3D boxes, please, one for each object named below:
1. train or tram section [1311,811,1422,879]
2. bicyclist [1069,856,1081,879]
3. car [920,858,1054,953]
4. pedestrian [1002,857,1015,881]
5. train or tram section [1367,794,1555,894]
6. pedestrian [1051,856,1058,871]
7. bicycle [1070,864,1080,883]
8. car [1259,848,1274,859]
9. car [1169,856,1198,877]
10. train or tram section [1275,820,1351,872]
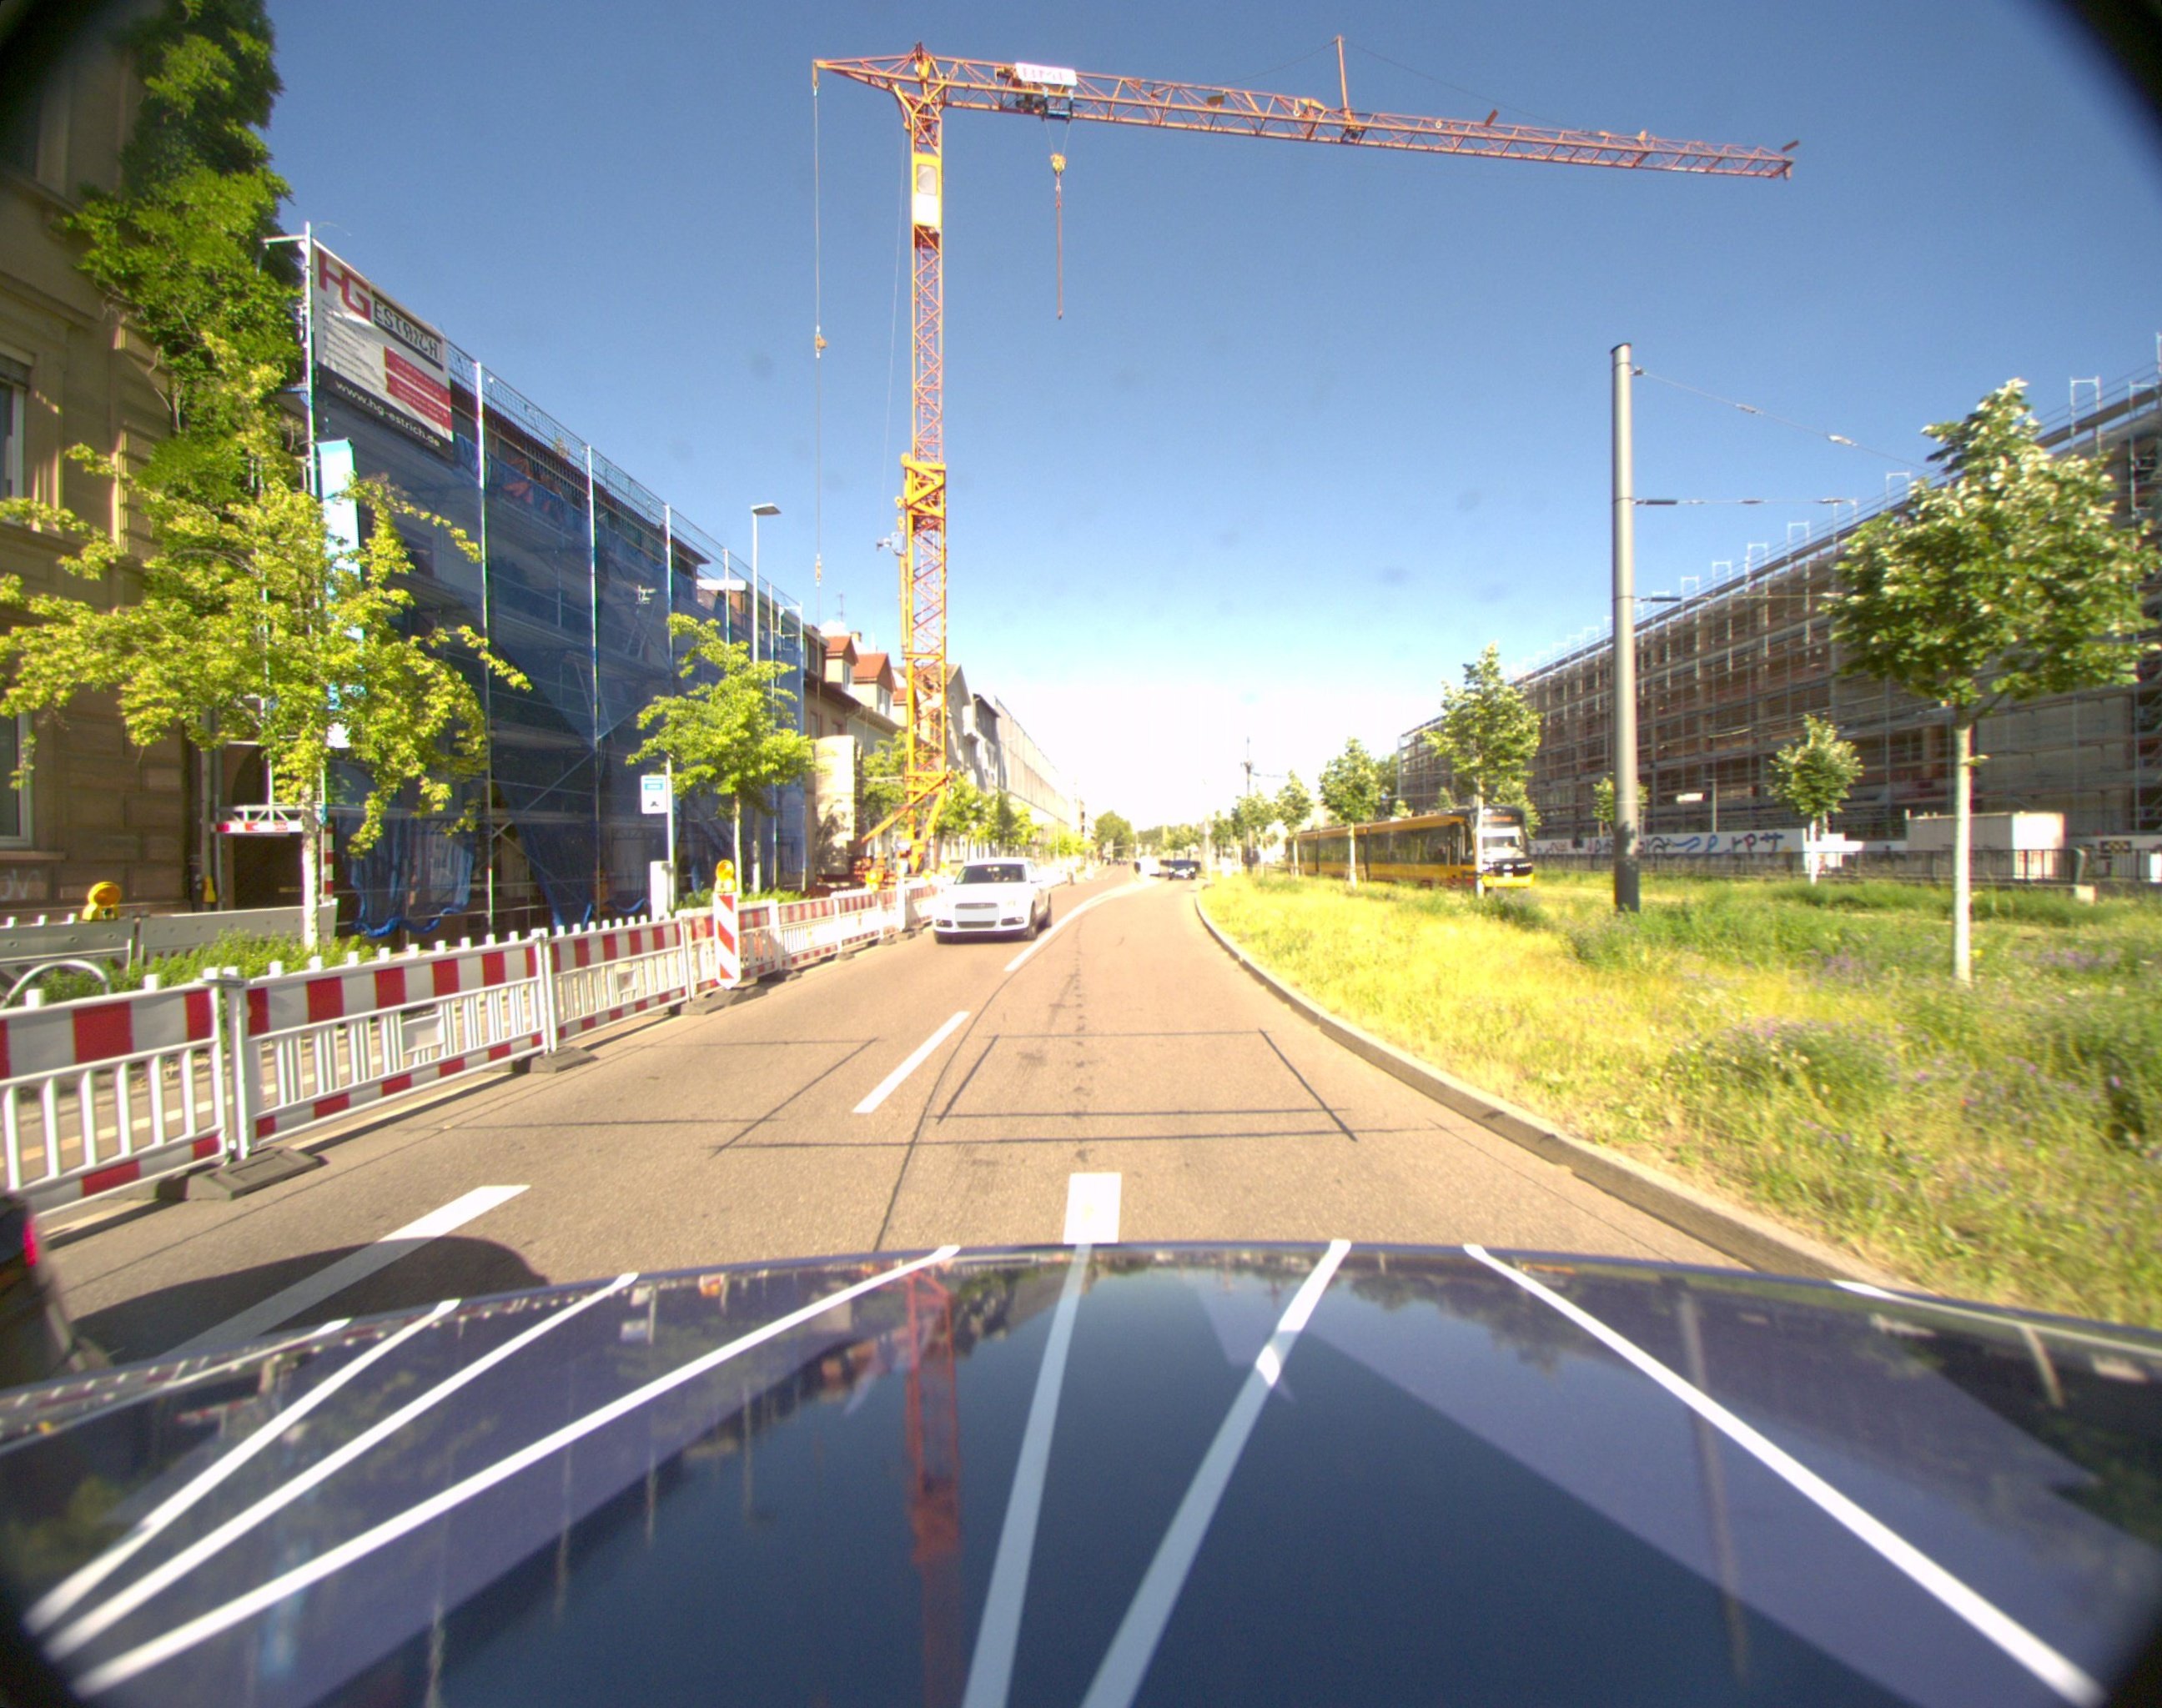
[{"bbox_3d":[17.125,-0.500,46.852,2.822,3.617,12.792,-1,0,4],"label":"train or tram section"},{"bbox_3d":[-0.411,0.858,49.374,0.755,1.454,0.587,-2,1,-1],"label":"bicyclist"},{"bbox_3d":[-1.767,0.941,15.708,1.933,1.624,4.001,-2,0,4],"label":"car"},{"bbox_3d":[-5.878,1.237,61.593,0.796,1.917,0.769,-2,0,-22],"label":"pedestrian"},{"bbox_3d":[16.237,-0.397,34.052,2.822,3.617,12.792,-1,0,4],"label":"train or tram section"},{"bbox_3d":[-3.695,1.298,105.082,0.877,1.914,0.895,2,3,4],"label":"pedestrian"},{"bbox_3d":[-0.378,1.265,49.395,0.610,1.144,1.987,0,0,-1],"label":"bicycle"},{"bbox_3d":[39.315,-0.083,161.416,2.337,2.146,4.398,-1,0,3],"label":"car"},{"bbox_3d":[7.308,0.864,54.341,1.927,1.435,4.179,-1,0,6],"label":"car"},{"bbox_3d":[17.909,-0.586,59.642,2.822,3.617,12.792,-1,0,4],"label":"train or tram section"}]
